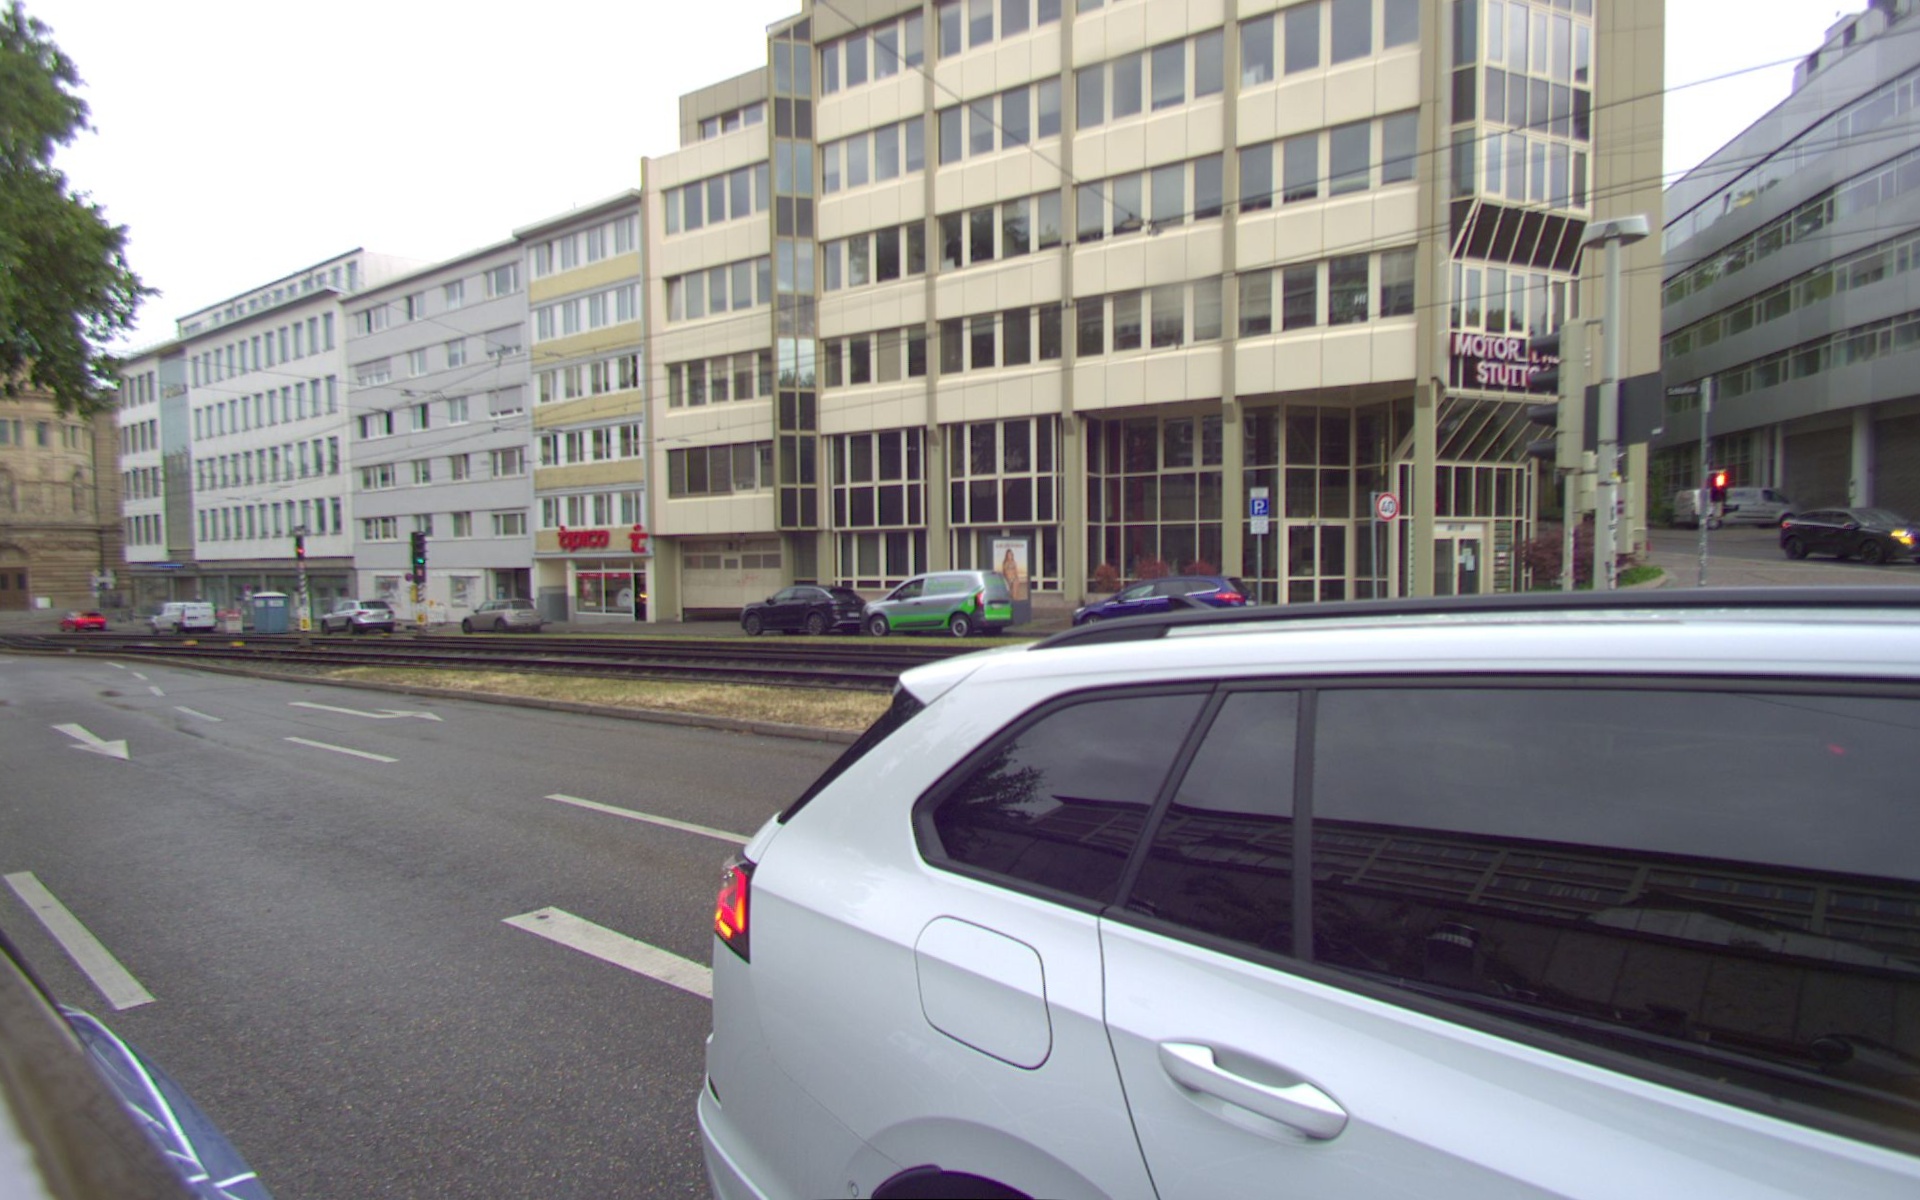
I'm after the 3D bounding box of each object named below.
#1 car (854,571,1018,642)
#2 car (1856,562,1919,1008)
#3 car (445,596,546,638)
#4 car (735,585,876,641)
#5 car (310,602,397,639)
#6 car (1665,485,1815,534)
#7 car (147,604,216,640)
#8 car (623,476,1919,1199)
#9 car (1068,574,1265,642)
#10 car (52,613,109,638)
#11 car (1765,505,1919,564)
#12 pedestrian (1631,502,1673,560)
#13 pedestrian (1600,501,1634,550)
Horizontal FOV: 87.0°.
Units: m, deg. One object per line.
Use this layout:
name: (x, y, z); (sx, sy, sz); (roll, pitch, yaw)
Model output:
car: (-0.678, 0.168, 27.874); (4.204, 1.759, 1.782); (-1, 2, 33)
car: (5.295, 0.573, 2.568); (4.473, 1.453, 1.777); (-1, 0, 41)
car: (-18.716, 0.663, 40.718); (4.066, 1.524, 1.782); (-1, 3, 34)
car: (-4.719, 0.377, 30.765); (4.066, 1.524, 1.782); (-1, 3, 34)
car: (-28.313, 0.945, 47.221); (4.066, 1.524, 1.869); (-1, 3, 34)
car: (37.625, -4.349, 48.945); (5.357, 2.029, 1.993); (-1, 0, 12)
car: (-46.551, 1.284, 60.466); (4.465, 1.949, 1.869); (-1, 3, 34)
car: (1.605, 0.622, 1.171); (4.473, 1.453, 1.777); (-1, 0, 41)
car: (4.814, 0.191, 23.860); (4.207, 1.488, 1.780); (-1, 0, 35)
car: (-62.208, 1.773, 71.572); (4.465, 1.636, 1.869); (-1, 3, 34)
car: (27.527, -2.053, 31.020); (1.974, 1.591, 4.884); (-2, 5, 3)
pedestrian: (22.068, -2.203, 32.271); (0.821, 1.800, 0.759); (-2, 3, 6)
pedestrian: (22.769, -2.575, 35.106); (0.711, 1.651, 0.759); (-2, 3, 6)
